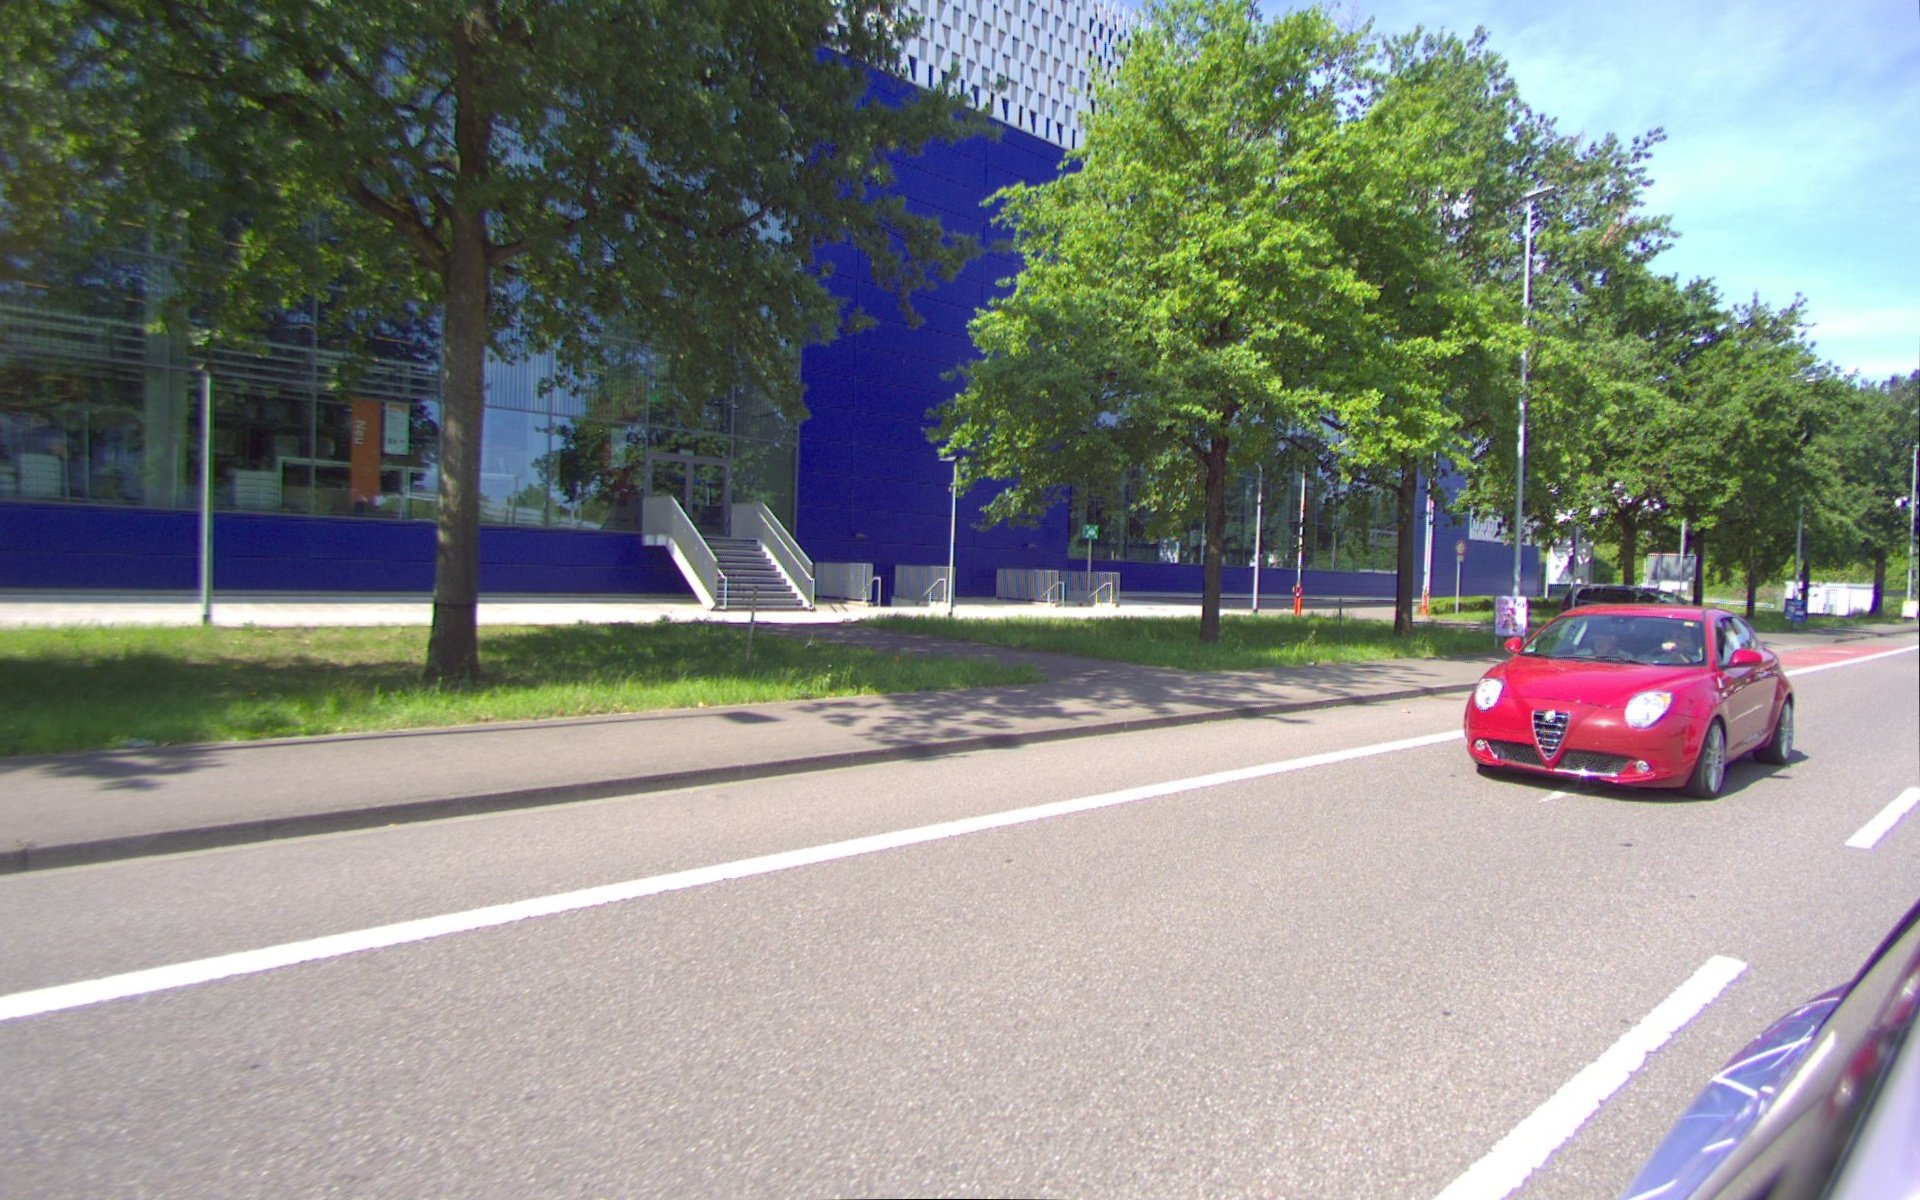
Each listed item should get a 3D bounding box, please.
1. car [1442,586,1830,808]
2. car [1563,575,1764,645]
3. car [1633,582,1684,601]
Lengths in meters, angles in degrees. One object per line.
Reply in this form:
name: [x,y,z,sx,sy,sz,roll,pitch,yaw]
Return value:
car: [5.972,0.628,8.776,3.909,1.472,1.797,-1,2,-40]
car: [20.598,0.222,29.836,1.808,1.714,4.463,1,3,-33]
car: [63.908,-0.794,92.660,1.823,1.660,4.301,1,1,3]
